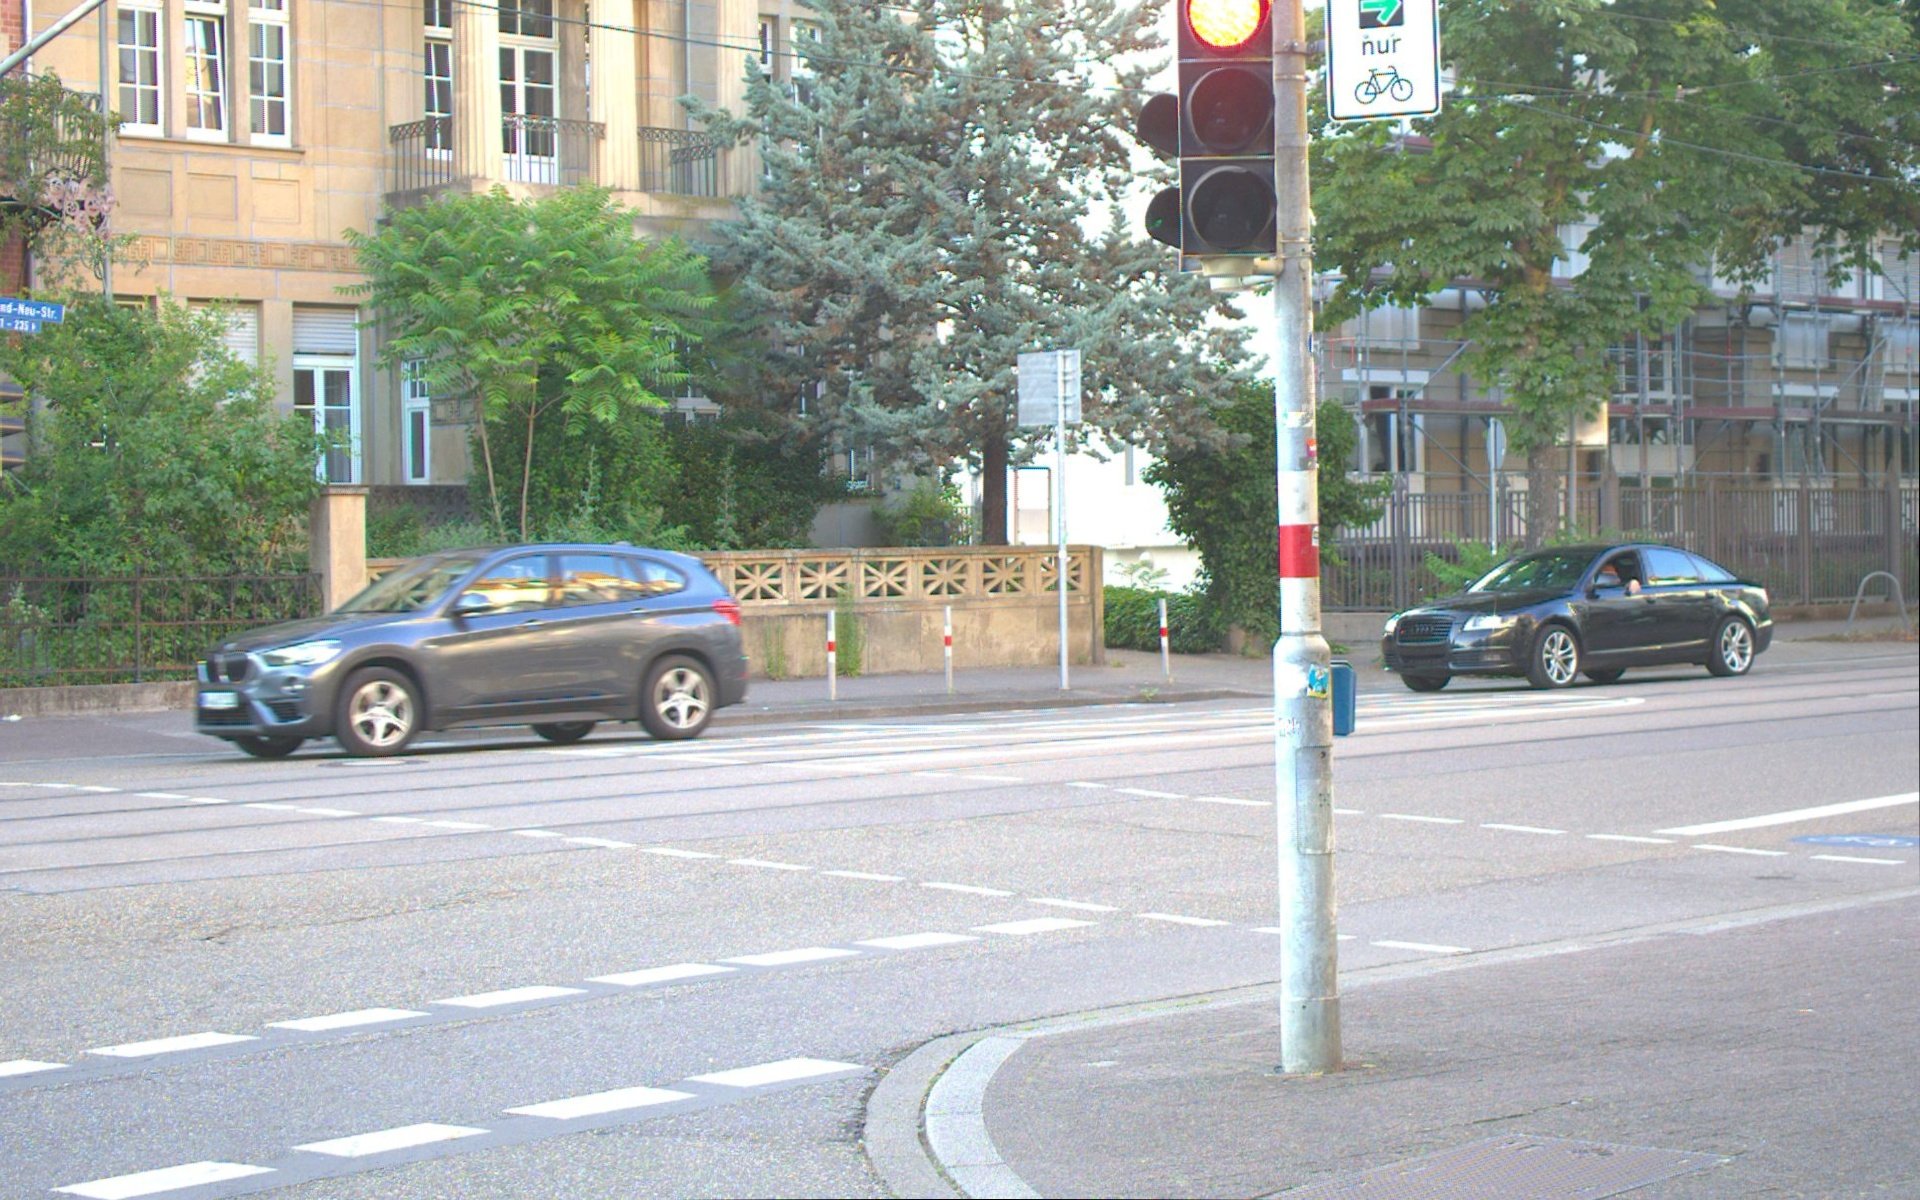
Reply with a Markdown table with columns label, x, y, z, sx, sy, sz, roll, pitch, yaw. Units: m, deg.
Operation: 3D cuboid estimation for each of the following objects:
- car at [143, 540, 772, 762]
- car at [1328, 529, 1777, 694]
| label | x | y | z | sx | sy | sz | roll | pitch | yaw |
| --- | --- | --- | --- | --- | --- | --- | --- | --- | --- |
| car | -3.807 | 0.335 | 26.497 | 4.407 | 1.504 | 1.949 | -2 | 1 | -40 |
| car | 6.043 | 0.072 | 34.796 | 4.619 | 1.504 | 1.949 | -2 | 1 | -40 |
